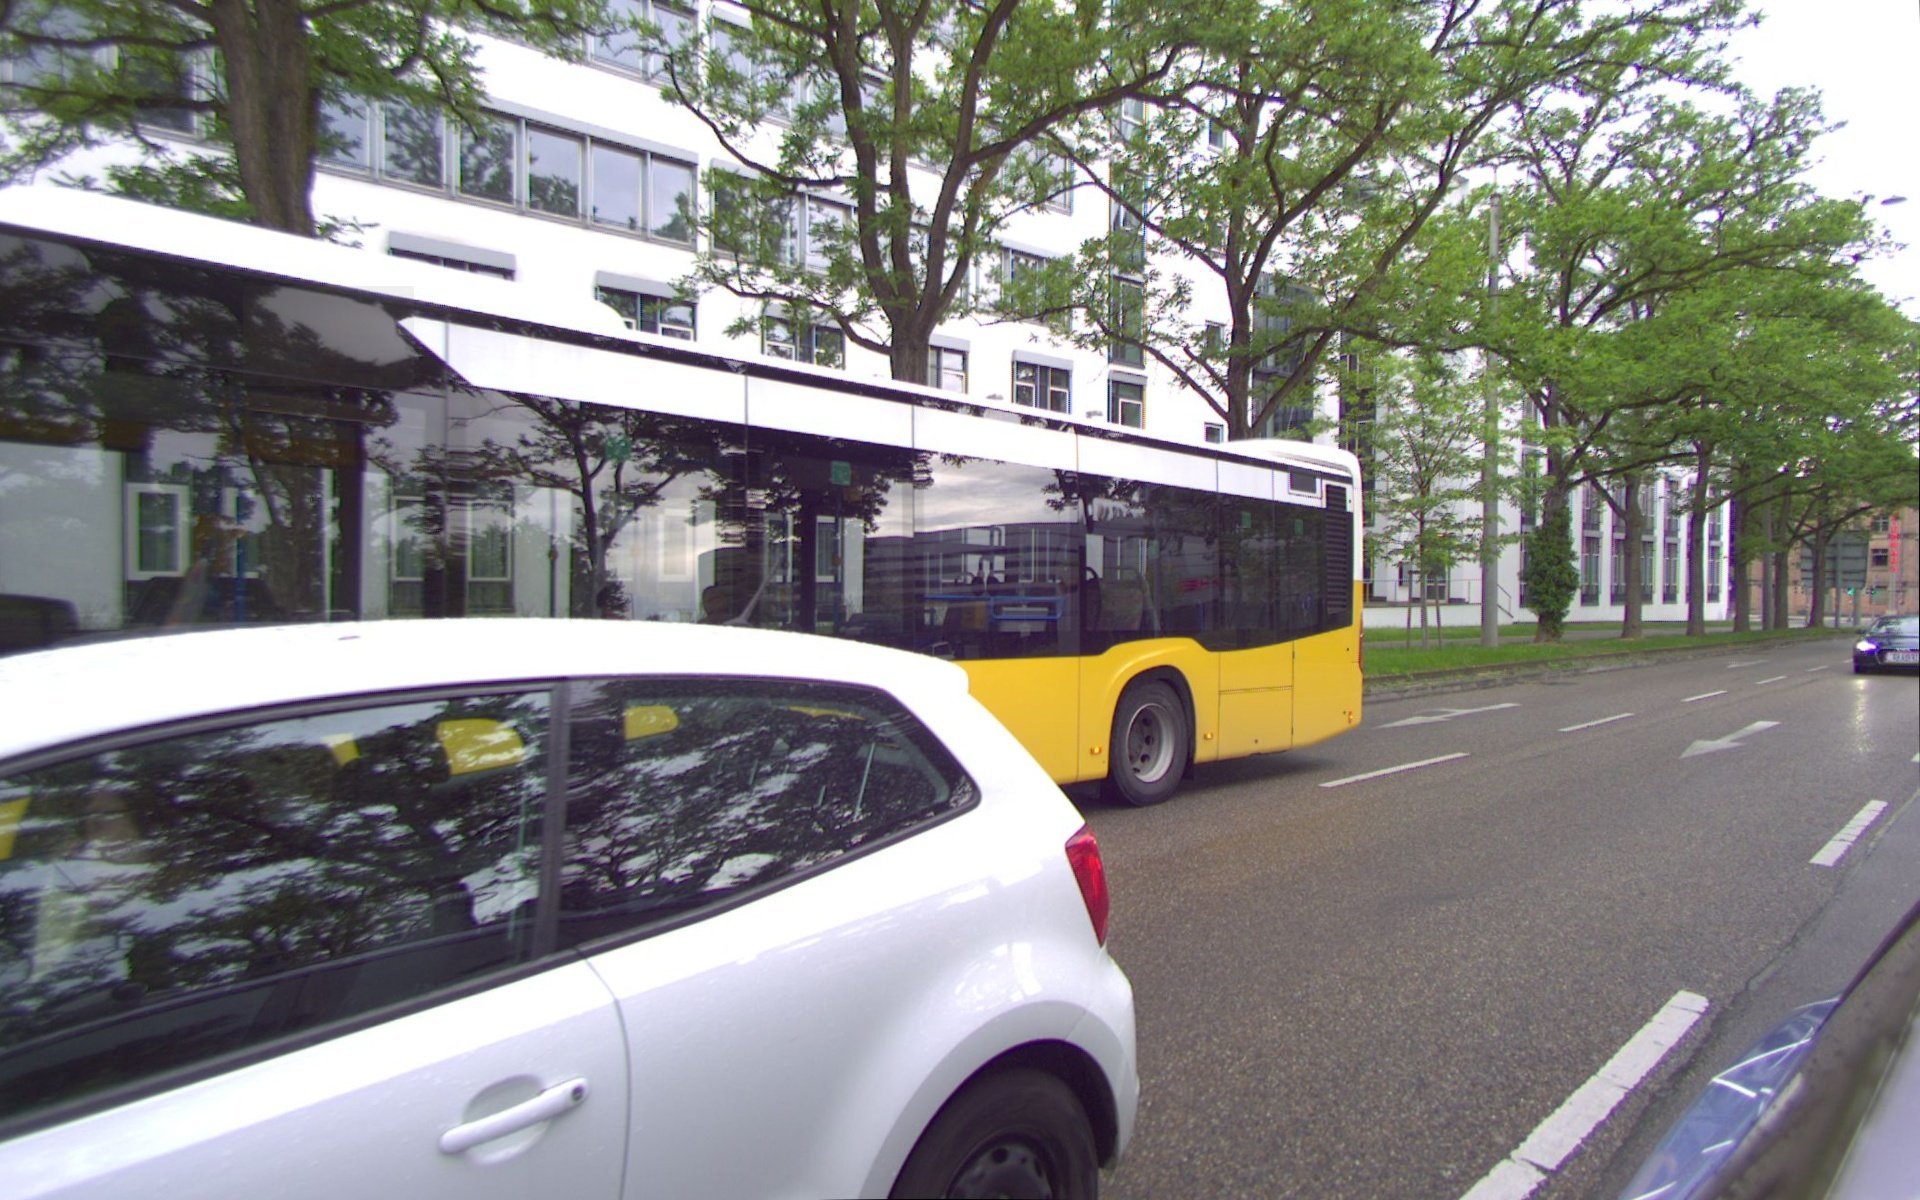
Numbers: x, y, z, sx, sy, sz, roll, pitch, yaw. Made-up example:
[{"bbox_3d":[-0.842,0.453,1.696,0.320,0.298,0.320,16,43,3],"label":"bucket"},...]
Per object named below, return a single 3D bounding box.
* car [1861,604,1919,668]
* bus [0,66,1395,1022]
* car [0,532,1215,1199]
[{"bbox_3d":[22.894,0.796,23.892,4.257,1.371,1.876,-1,0,-41],"label":"car"},{"bbox_3d":[-1.187,-0.156,6.943,11.932,3.192,2.731,1,-1,-41],"label":"bus"},{"bbox_3d":[-1.444,0.670,1.676,3.744,1.450,1.744,-1,0,-40],"label":"car"}]
